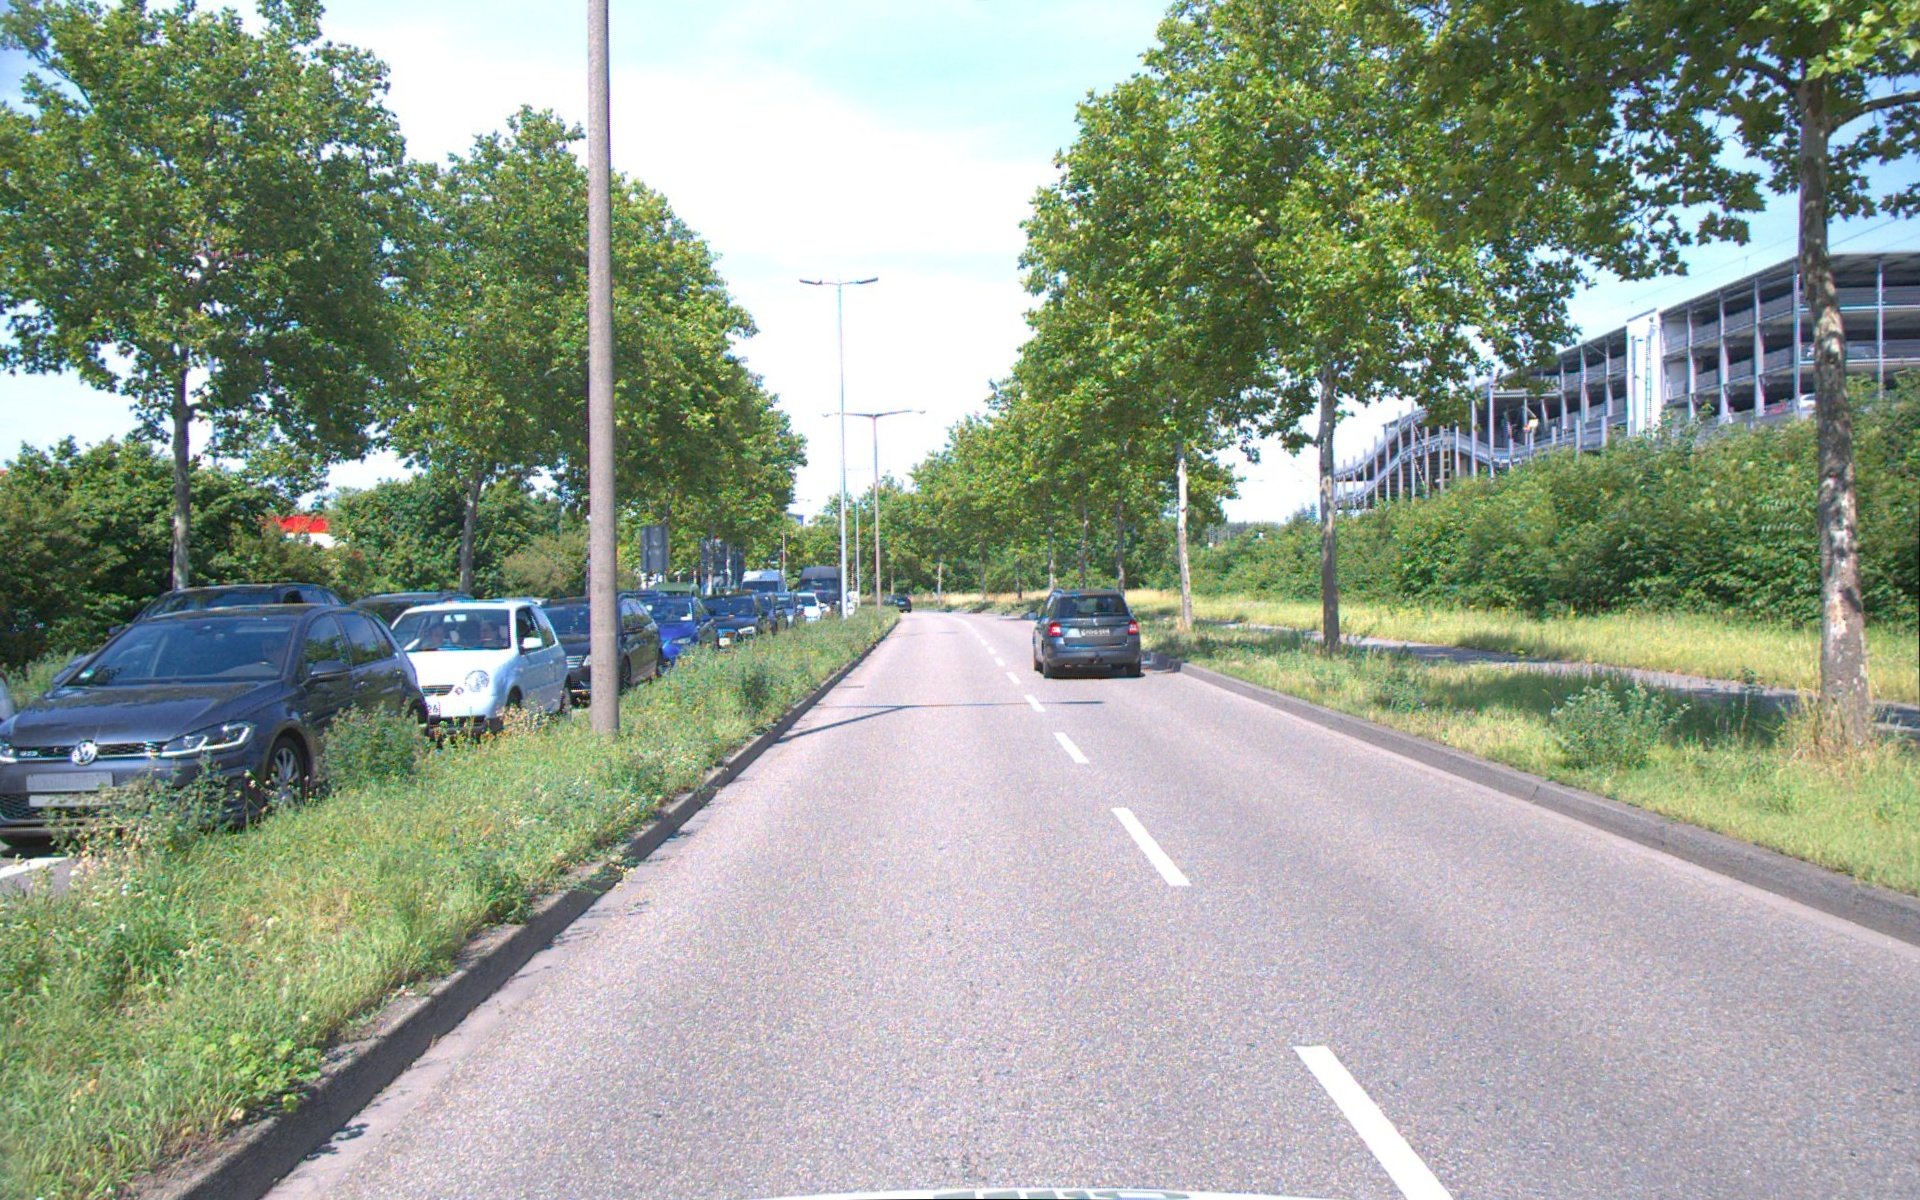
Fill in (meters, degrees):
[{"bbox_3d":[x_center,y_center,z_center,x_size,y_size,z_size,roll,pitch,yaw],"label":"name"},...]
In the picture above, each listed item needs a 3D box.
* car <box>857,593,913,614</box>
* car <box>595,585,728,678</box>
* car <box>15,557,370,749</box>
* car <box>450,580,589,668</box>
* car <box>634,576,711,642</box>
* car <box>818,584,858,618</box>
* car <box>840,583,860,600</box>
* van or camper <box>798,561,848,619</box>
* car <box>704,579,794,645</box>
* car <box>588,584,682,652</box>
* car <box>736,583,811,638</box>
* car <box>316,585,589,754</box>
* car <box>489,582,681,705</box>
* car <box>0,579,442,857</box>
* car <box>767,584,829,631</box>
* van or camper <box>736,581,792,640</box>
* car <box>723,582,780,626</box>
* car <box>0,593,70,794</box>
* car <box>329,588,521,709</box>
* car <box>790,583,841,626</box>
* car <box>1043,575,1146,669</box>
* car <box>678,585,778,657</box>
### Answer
[{"bbox_3d":[-5.913,0.270,130.606,4.545,1.488,1.901,2,2,45],"label":"car"},{"bbox_3d":[-5.369,0.517,30.190,1.749,1.515,4.210,-2,1,-2],"label":"car"},{"bbox_3d":[-8.135,0.511,18.085,1.785,1.767,4.766,-1,0,-2],"label":"car"},{"bbox_3d":[-8.525,0.416,32.322,1.654,1.556,3.938,-2,1,-1],"label":"car"},{"bbox_3d":[-8.806,0.255,50.919,1.654,1.891,4.036,-2,0,-1],"label":"car"},{"bbox_3d":[-5.901,0.068,80.381,1.654,1.557,3.814,-2,0,-1],"label":"car"},{"bbox_3d":[-10.655,-0.826,160.496,1.870,1.489,4.578,-2,-1,-4],"label":"car"},{"bbox_3d":[-5.976,-0.414,72.867,1.899,2.410,5.395,-2,0,-2],"label":"van or camper"},{"bbox_3d":[-5.649,0.287,44.853,1.809,1.635,5.007,-2,1,-1],"label":"car"},{"bbox_3d":[-8.540,0.435,43.755,1.654,1.660,4.310,-2,1,-1],"label":"car"},{"bbox_3d":[-5.735,0.278,51.221,1.776,1.556,4.641,-2,1,0],"label":"car"},{"bbox_3d":[-5.104,0.621,17.143,1.654,1.497,3.814,-2,1,-1],"label":"car"},{"bbox_3d":[-5.355,0.547,24.230,1.722,1.556,4.827,-2,1,-1],"label":"car"},{"bbox_3d":[-5.044,0.641,11.321,1.654,1.499,4.217,-3,1,-1],"label":"car"},{"bbox_3d":[-5.564,0.229,57.291,1.747,1.484,4.471,-1,1,-1],"label":"car"},{"bbox_3d":[-9.237,0.432,78.379,1.974,2.633,5.516,-2,1,-1],"label":"van or camper"},{"bbox_3d":[-8.921,0.150,71.060,1.953,1.786,3.999,-2,1,-1],"label":"car"},{"bbox_3d":[-8.308,0.782,11.880,1.655,1.556,4.083,-3,1,-2],"label":"car"},{"bbox_3d":[-8.250,0.678,25.877,1.654,1.675,4.177,-2,1,-1],"label":"car"},{"bbox_3d":[-5.543,0.142,63.719,1.654,1.537,3.814,-2,1,-1],"label":"car"},{"bbox_3d":[2.306,0.330,28.681,1.639,1.478,4.038,1,1,4],"label":"car"},{"bbox_3d":[-5.280,0.432,38.087,1.787,1.491,4.449,-2,1,-2],"label":"car"}]
